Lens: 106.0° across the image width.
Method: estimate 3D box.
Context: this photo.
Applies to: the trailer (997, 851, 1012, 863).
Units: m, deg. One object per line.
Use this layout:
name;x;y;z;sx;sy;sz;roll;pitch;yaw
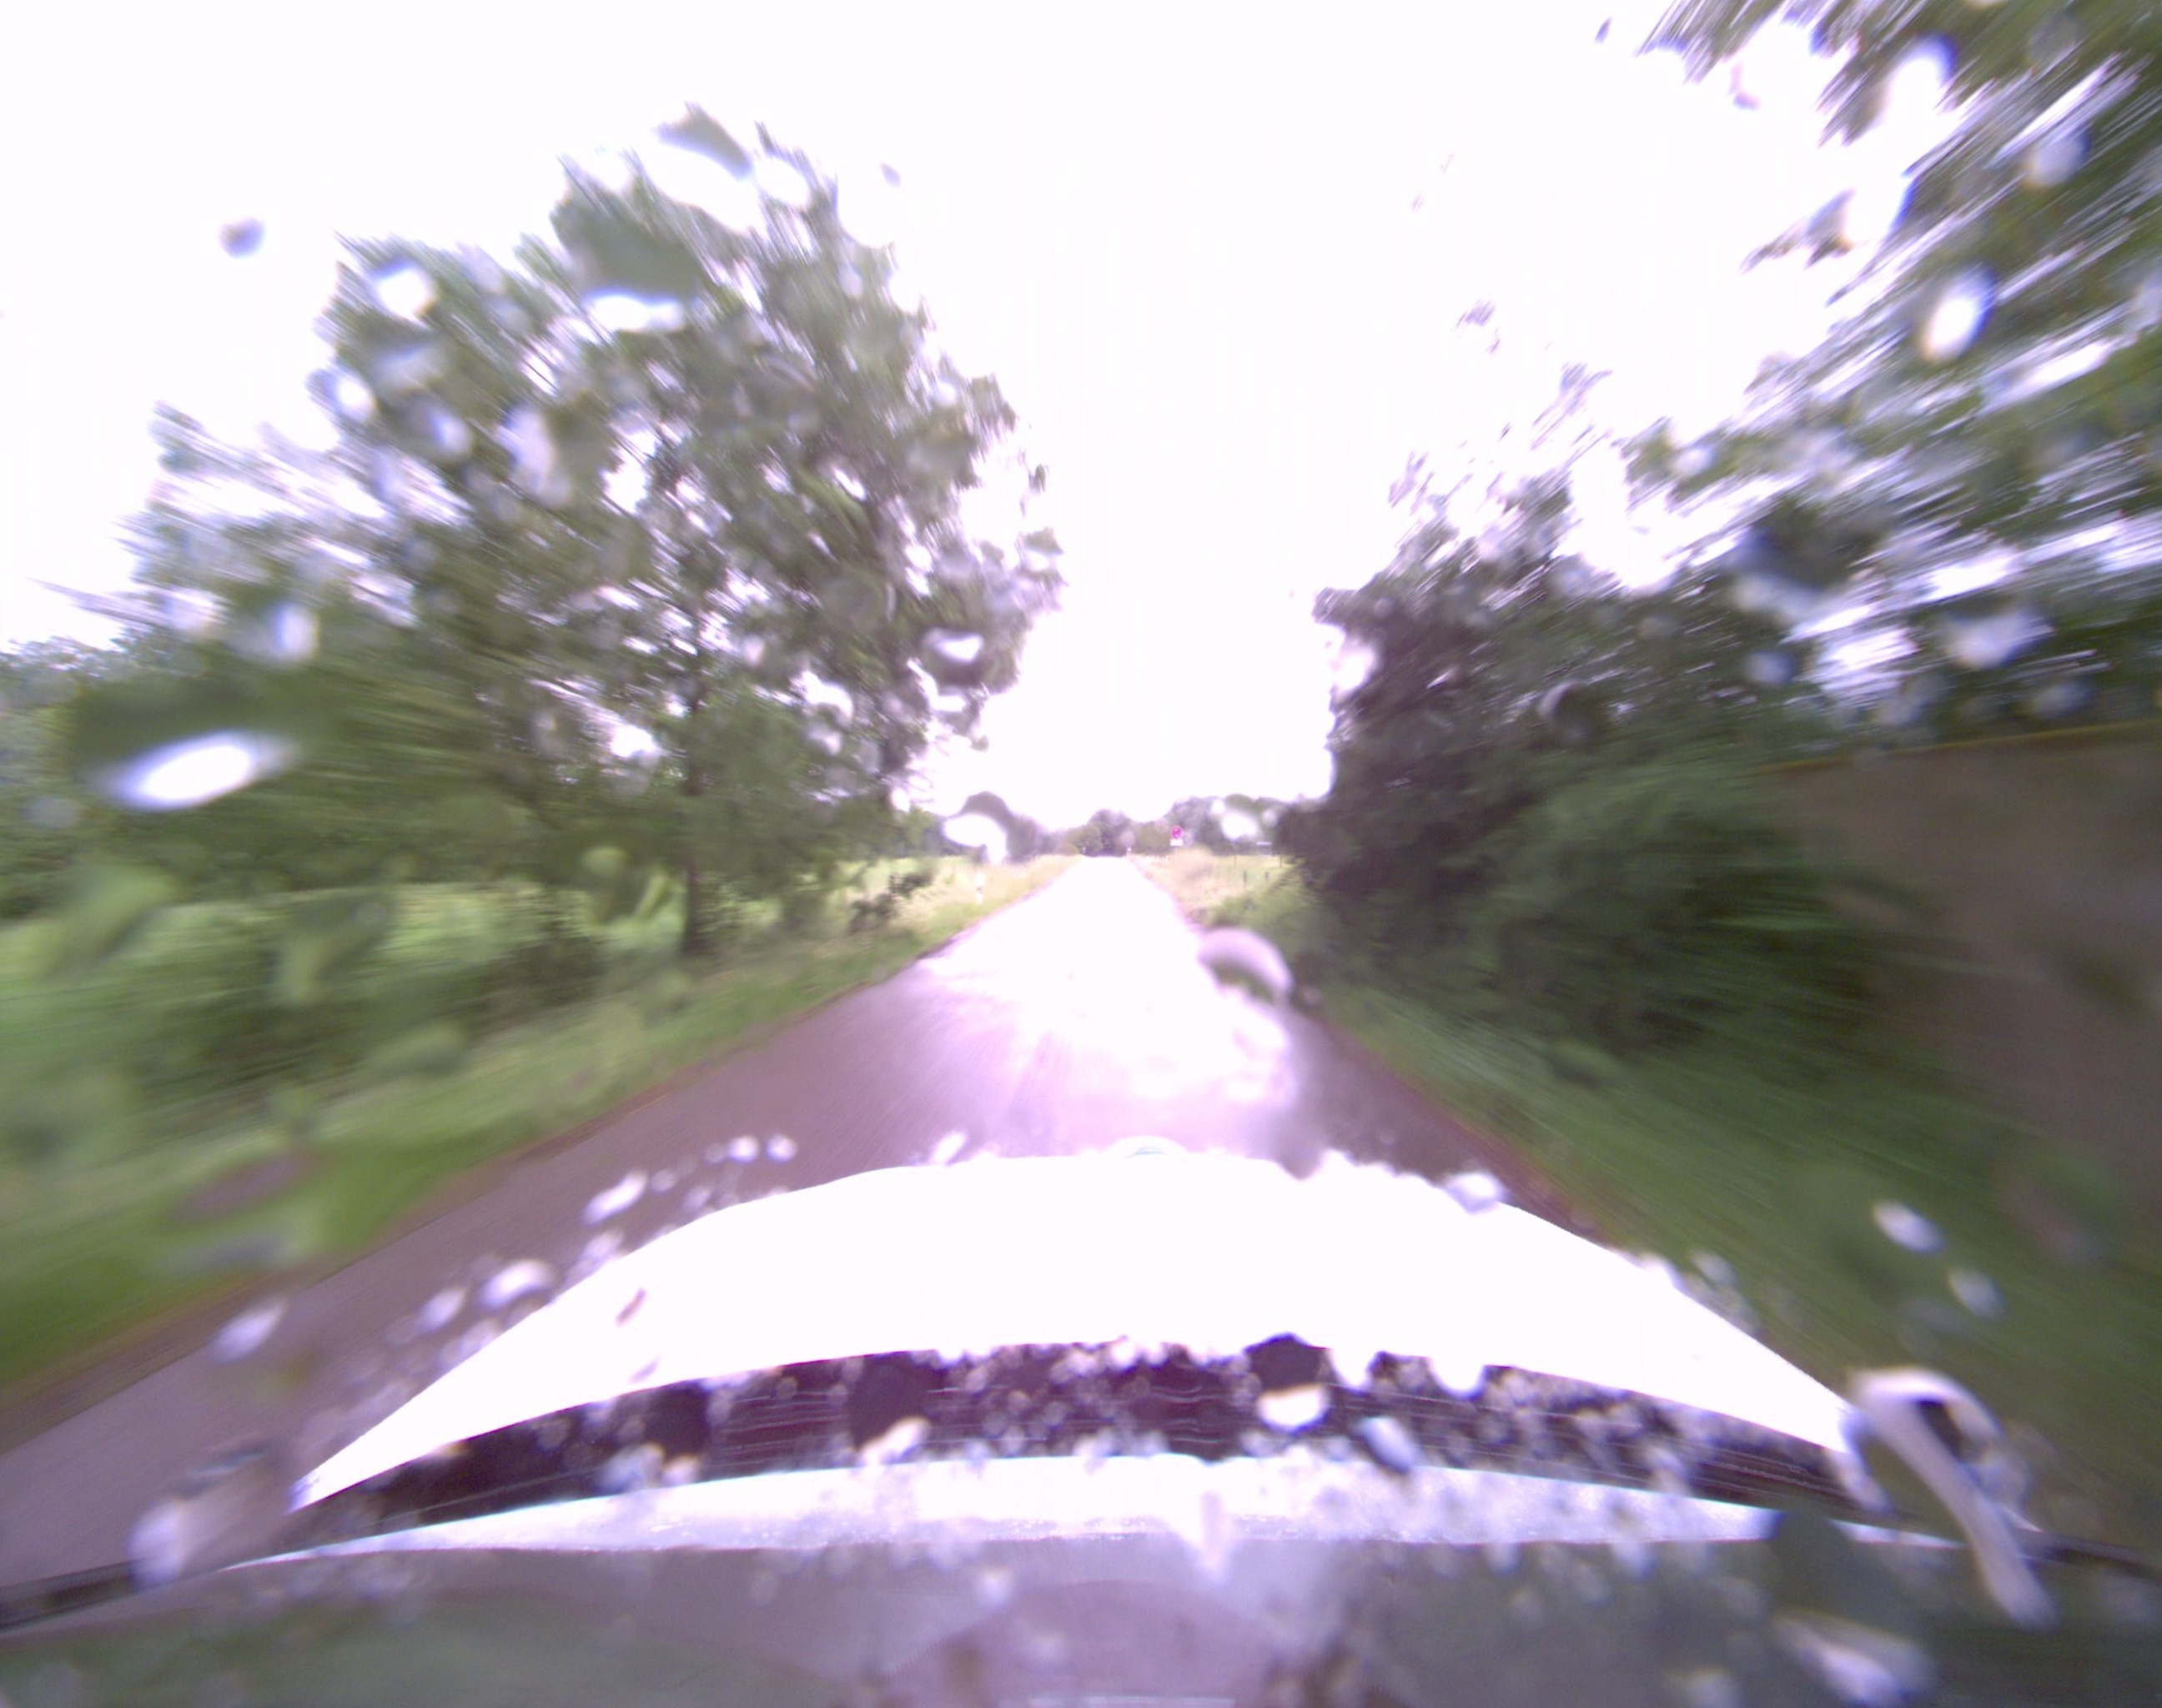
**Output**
trailer;-9.746;0.387;103.736;1.750;1.504;3.081;-1;0;-8
